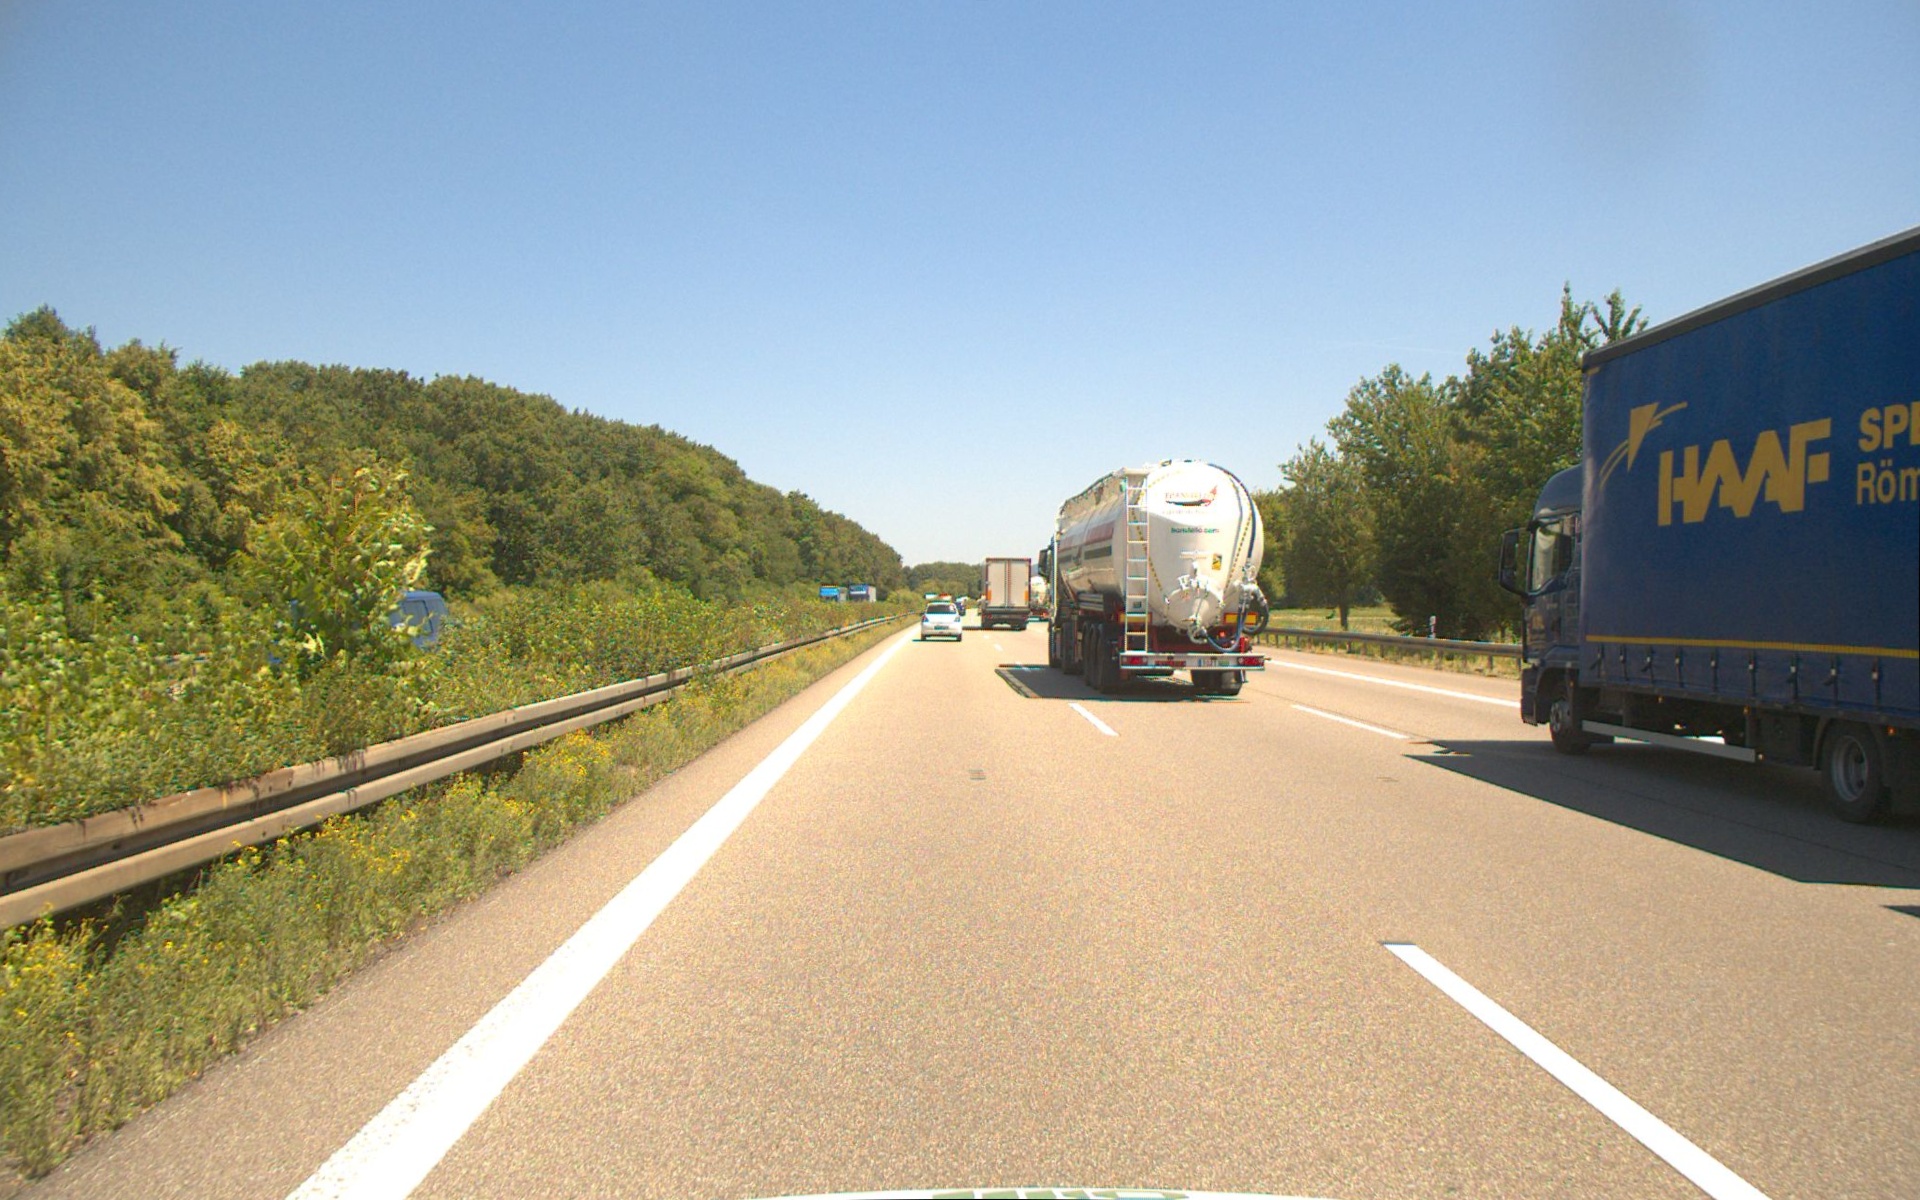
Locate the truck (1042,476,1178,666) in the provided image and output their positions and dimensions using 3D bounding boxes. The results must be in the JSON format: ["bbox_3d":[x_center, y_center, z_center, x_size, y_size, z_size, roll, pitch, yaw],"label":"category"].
[{"bbox_3d":[3.522,-0.651,39.879,2.733,4.278,4.999,0,0,-1],"label":"truck"}]

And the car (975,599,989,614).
[{"bbox_3d":[2.758,0.768,205.731,1.634,1.796,4.000,0,0,0],"label":"car"}]

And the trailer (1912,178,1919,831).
[{"bbox_3d":[7.751,-0.627,5.538,2.733,4.278,10.804,0,0,-1],"label":"trailer"}]

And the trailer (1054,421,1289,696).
[{"bbox_3d":[3.657,-0.661,31.987,2.733,4.278,12.350,0,0,-1],"label":"trailer"}]

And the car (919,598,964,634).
[{"bbox_3d":[-0.777,0.634,66.983,1.775,1.429,3.316,0,0,-2],"label":"car"}]

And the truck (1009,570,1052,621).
[{"bbox_3d":[6.190,-0.381,147.491,3.158,4.421,10.804,0,0,-1],"label":"truck"}]

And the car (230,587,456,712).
[{"bbox_3d":[-9.140,0.681,24.862,1.911,1.680,3.999,-1,0,-1],"label":"car"}]

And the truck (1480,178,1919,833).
[{"bbox_3d":[7.587,-0.621,14.083,2.733,4.278,10.804,0,0,-1],"label":"truck"}]

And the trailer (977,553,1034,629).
[{"bbox_3d":[2.771,-0.517,98.489,3.156,4.216,12.355,0,0,2],"label":"trailer"}]

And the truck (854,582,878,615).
[{"bbox_3d":[-12.004,-0.184,211.195,2.811,4.080,5.000,0,0,0],"label":"truck"}]
